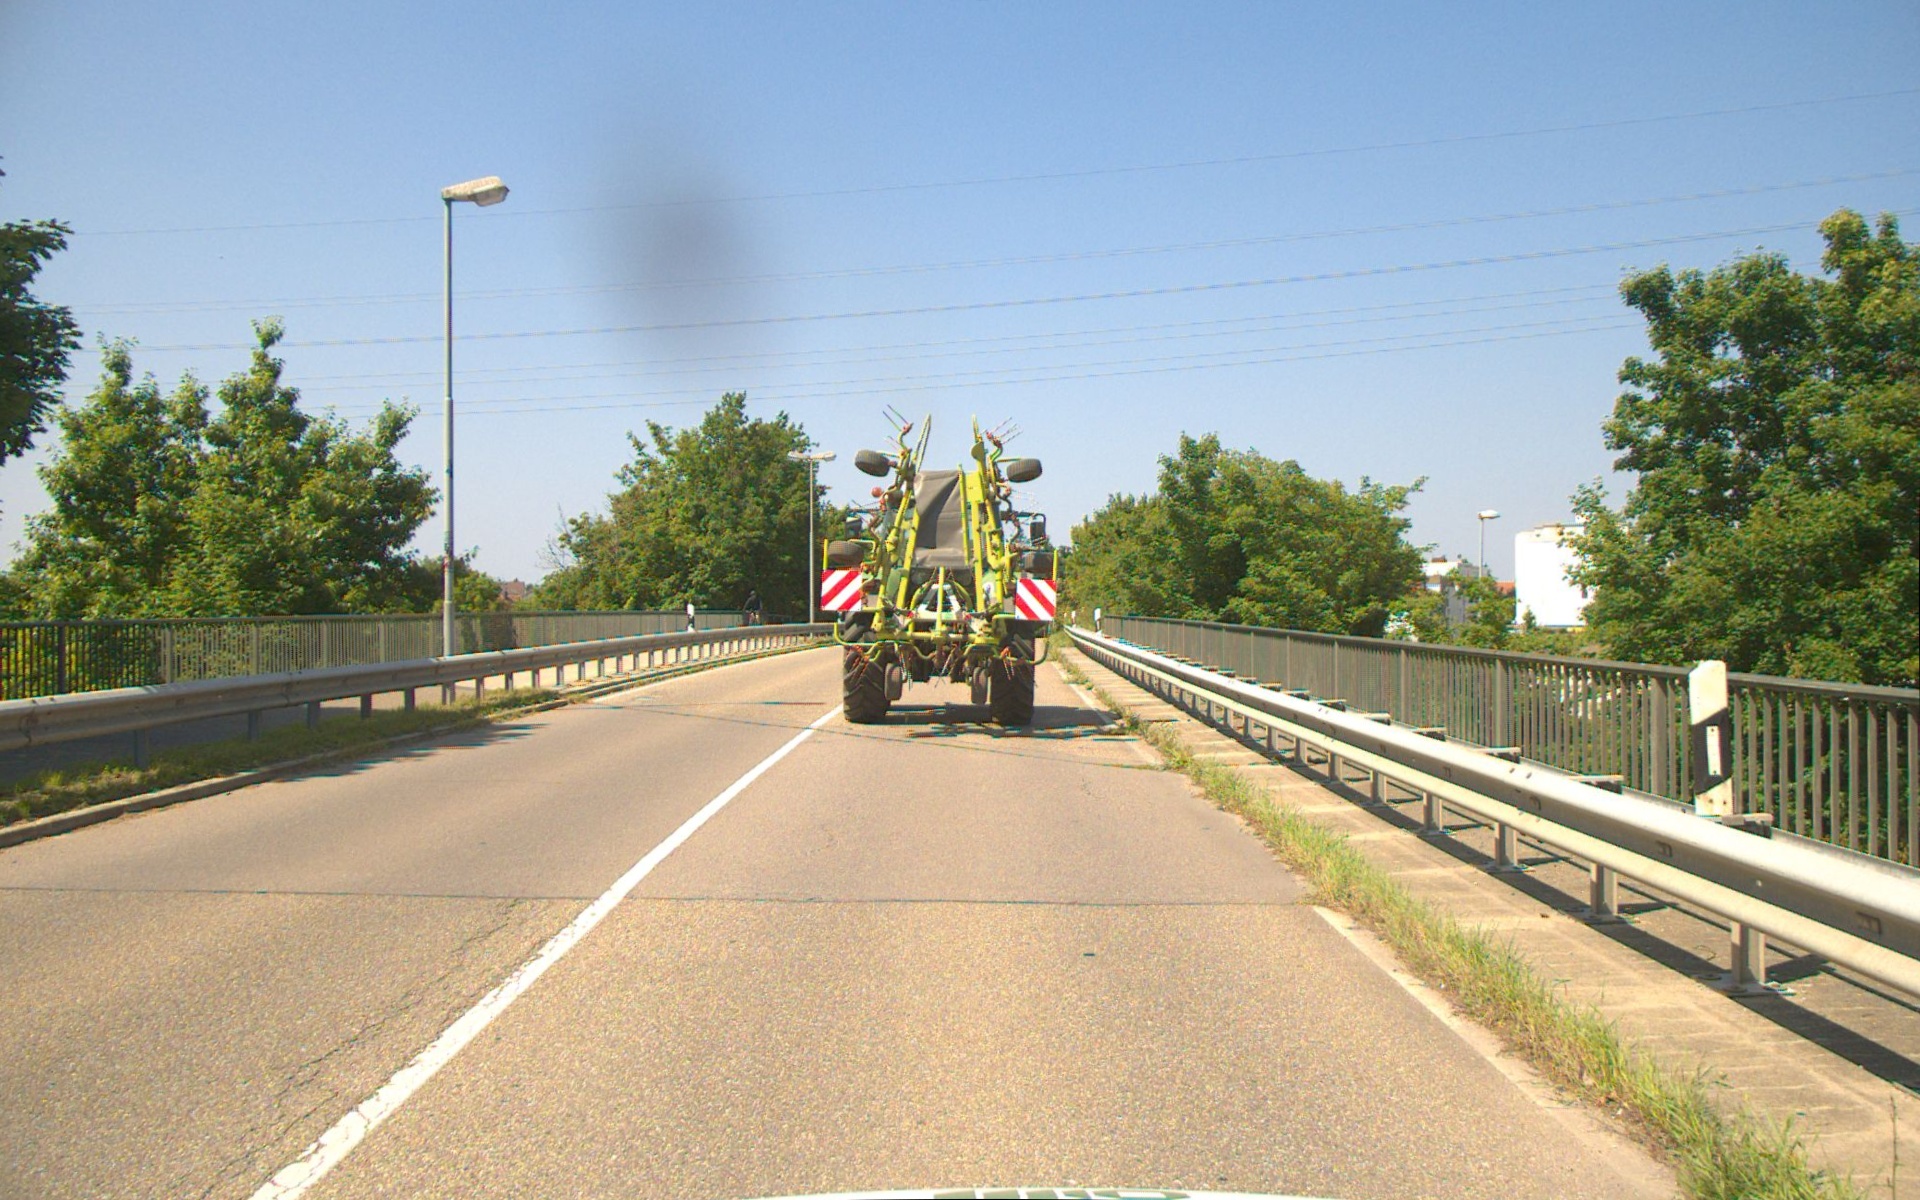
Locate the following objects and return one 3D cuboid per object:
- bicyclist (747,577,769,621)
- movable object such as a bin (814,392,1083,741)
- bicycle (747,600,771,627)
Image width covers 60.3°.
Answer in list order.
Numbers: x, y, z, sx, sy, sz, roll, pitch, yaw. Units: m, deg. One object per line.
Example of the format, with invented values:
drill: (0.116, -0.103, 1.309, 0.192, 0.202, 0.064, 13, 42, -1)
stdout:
bicyclist: (-7.831, -0.047, 64.113, 0.749, 1.662, 0.895, 0, 0, 0)
movable object such as a bin: (-0.160, -0.370, 19.513, 2.699, 3.504, 5.669, 0, 1, -1)
bicycle: (-7.787, 0.515, 64.058, 0.663, 1.019, 2.118, -1, 1, -1)
